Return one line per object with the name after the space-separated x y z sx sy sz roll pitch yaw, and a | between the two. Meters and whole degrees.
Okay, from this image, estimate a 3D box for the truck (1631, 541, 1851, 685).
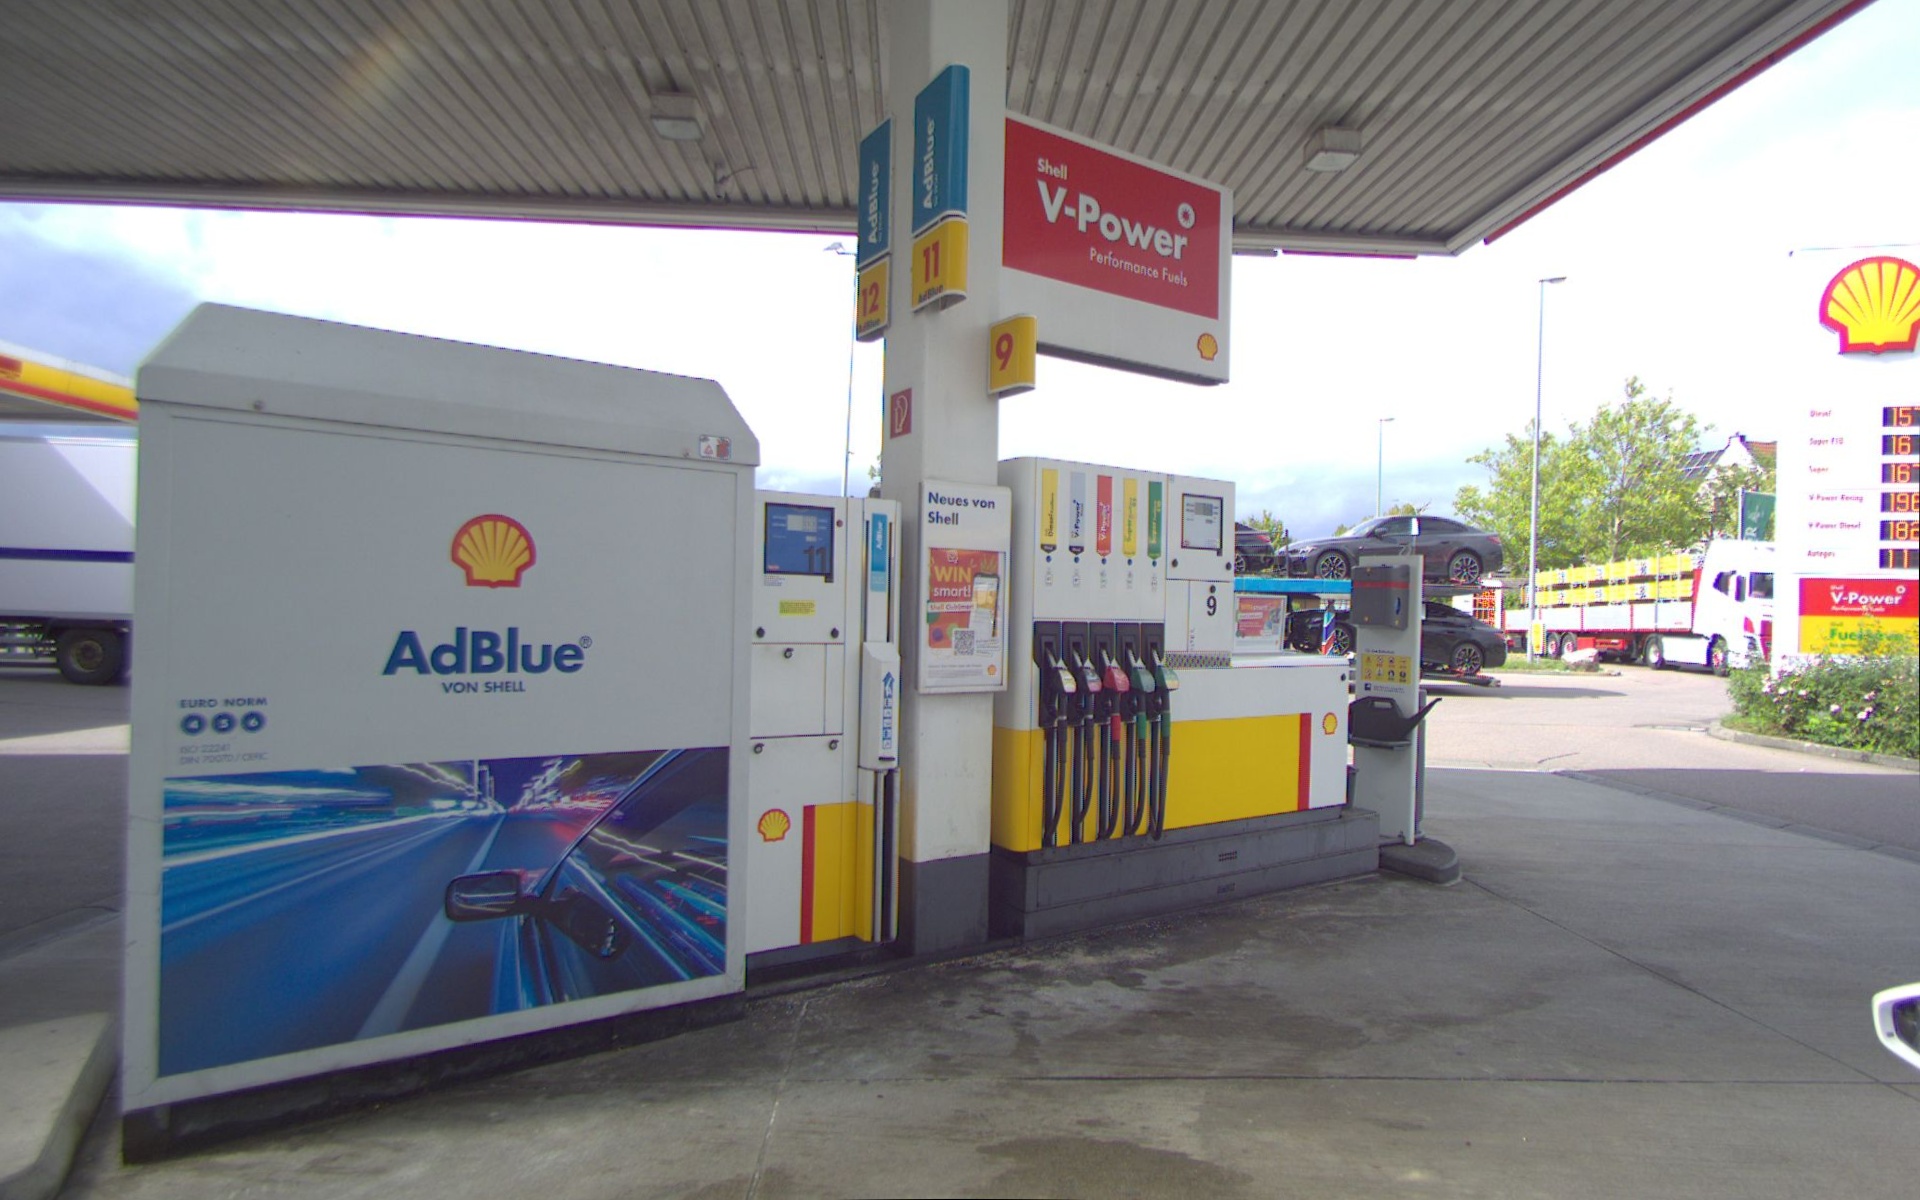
23.466 0.371 30.620 2.686 3.897 5.922 2 0 9 | truck

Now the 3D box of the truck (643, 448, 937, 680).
-3.448 -0.708 21.549 5.713 4.479 2.750 2 0 0 | truck

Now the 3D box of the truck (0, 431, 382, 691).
-17.299 -0.742 17.505 12.654 4.092 2.534 2 0 -3 | truck

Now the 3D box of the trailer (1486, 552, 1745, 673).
24.450 0.440 38.715 2.684 3.826 12.719 2 0 6 | trailer

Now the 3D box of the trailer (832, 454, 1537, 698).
4.528 -0.471 21.588 14.077 4.481 2.746 2 0 0 | trailer
